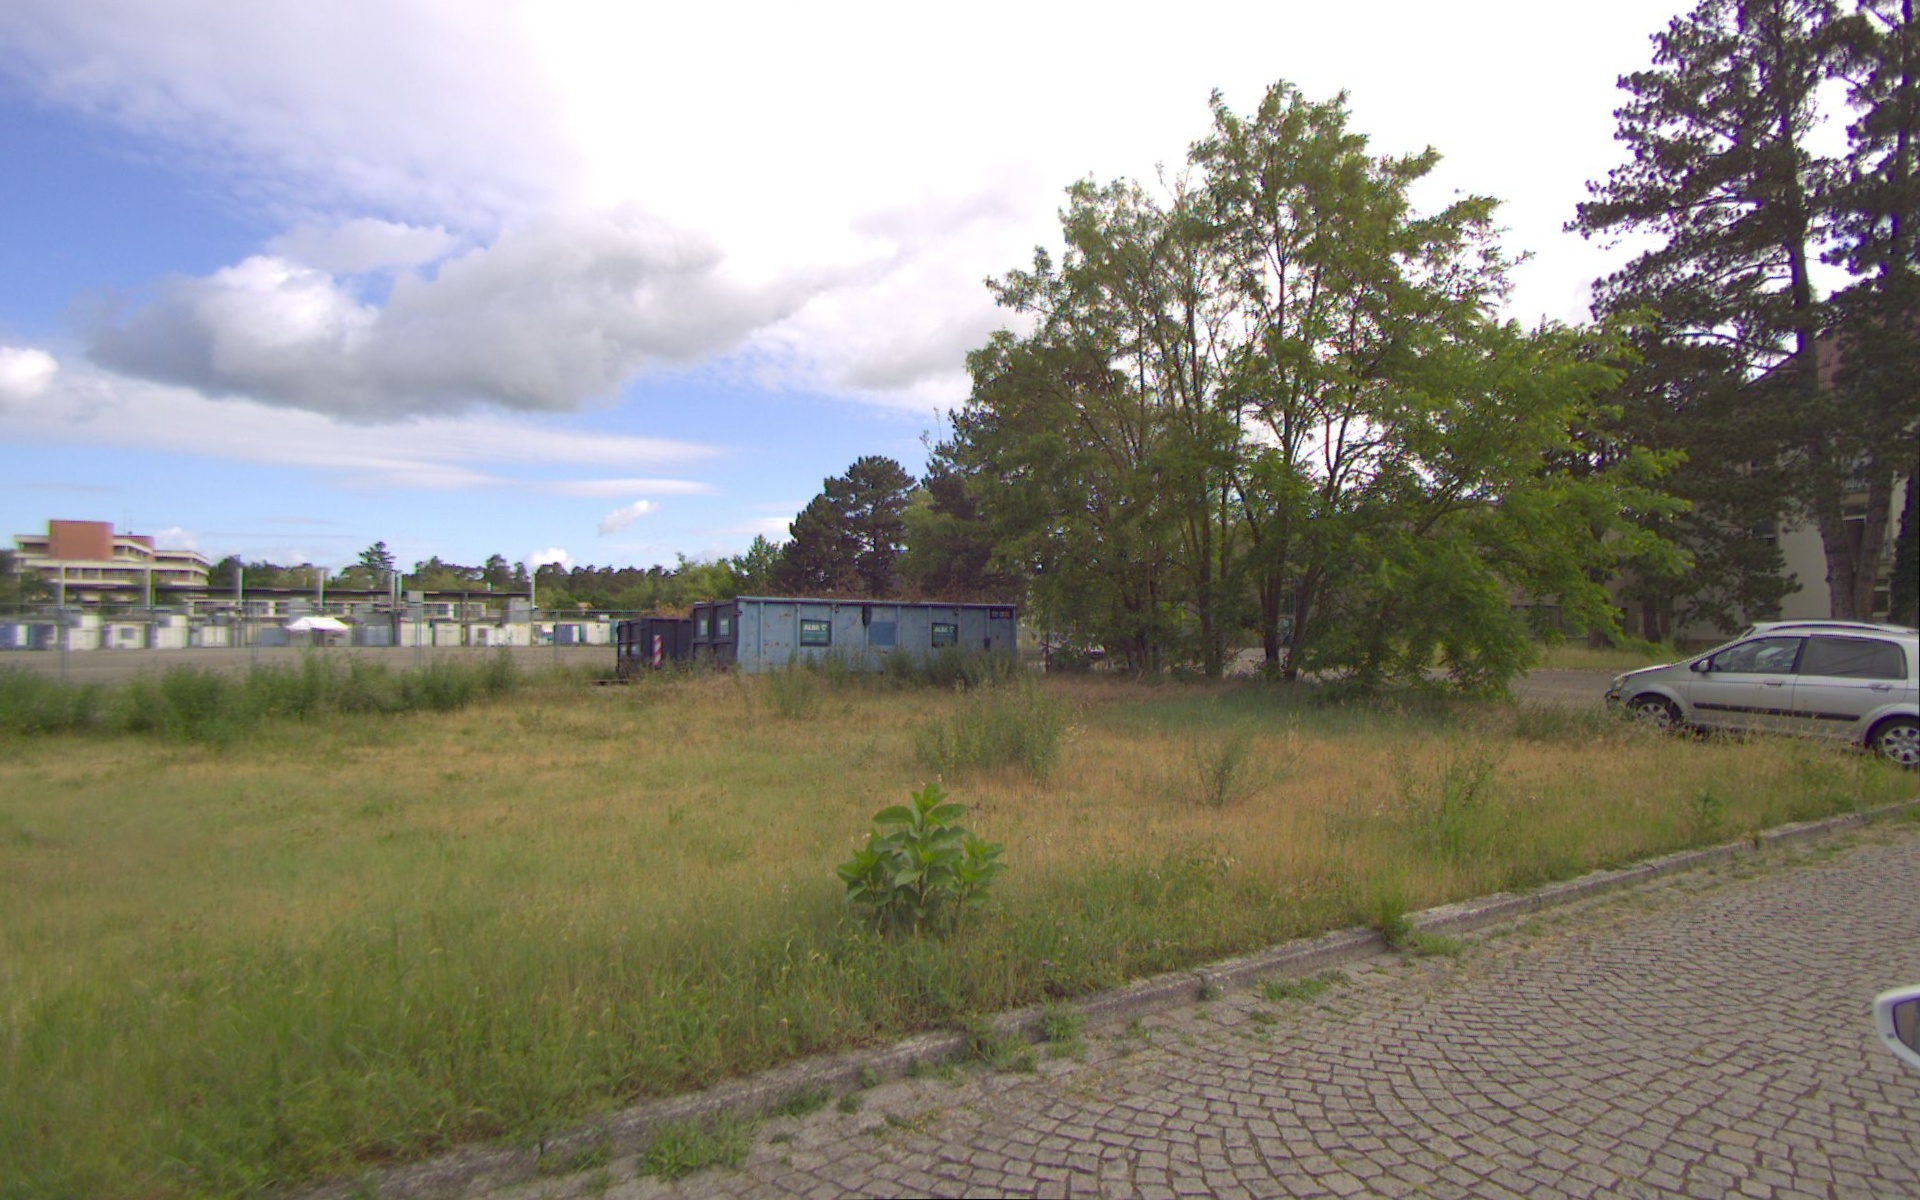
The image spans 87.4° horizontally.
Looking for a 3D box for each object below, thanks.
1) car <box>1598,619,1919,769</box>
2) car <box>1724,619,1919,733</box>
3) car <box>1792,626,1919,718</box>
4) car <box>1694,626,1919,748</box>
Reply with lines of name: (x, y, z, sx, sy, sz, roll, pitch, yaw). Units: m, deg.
car: (10.194, 1.045, 12.310, 1.566, 1.499, 3.680, 1, 1, -34)
car: (14.475, 1.162, 15.526, 1.633, 1.584, 3.923, 1, 1, -34)
car: (16.648, 1.236, 16.776, 1.632, 1.440, 3.926, 1, 0, -31)
car: (12.422, 1.142, 13.585, 1.566, 1.448, 3.723, 1, 1, -34)
